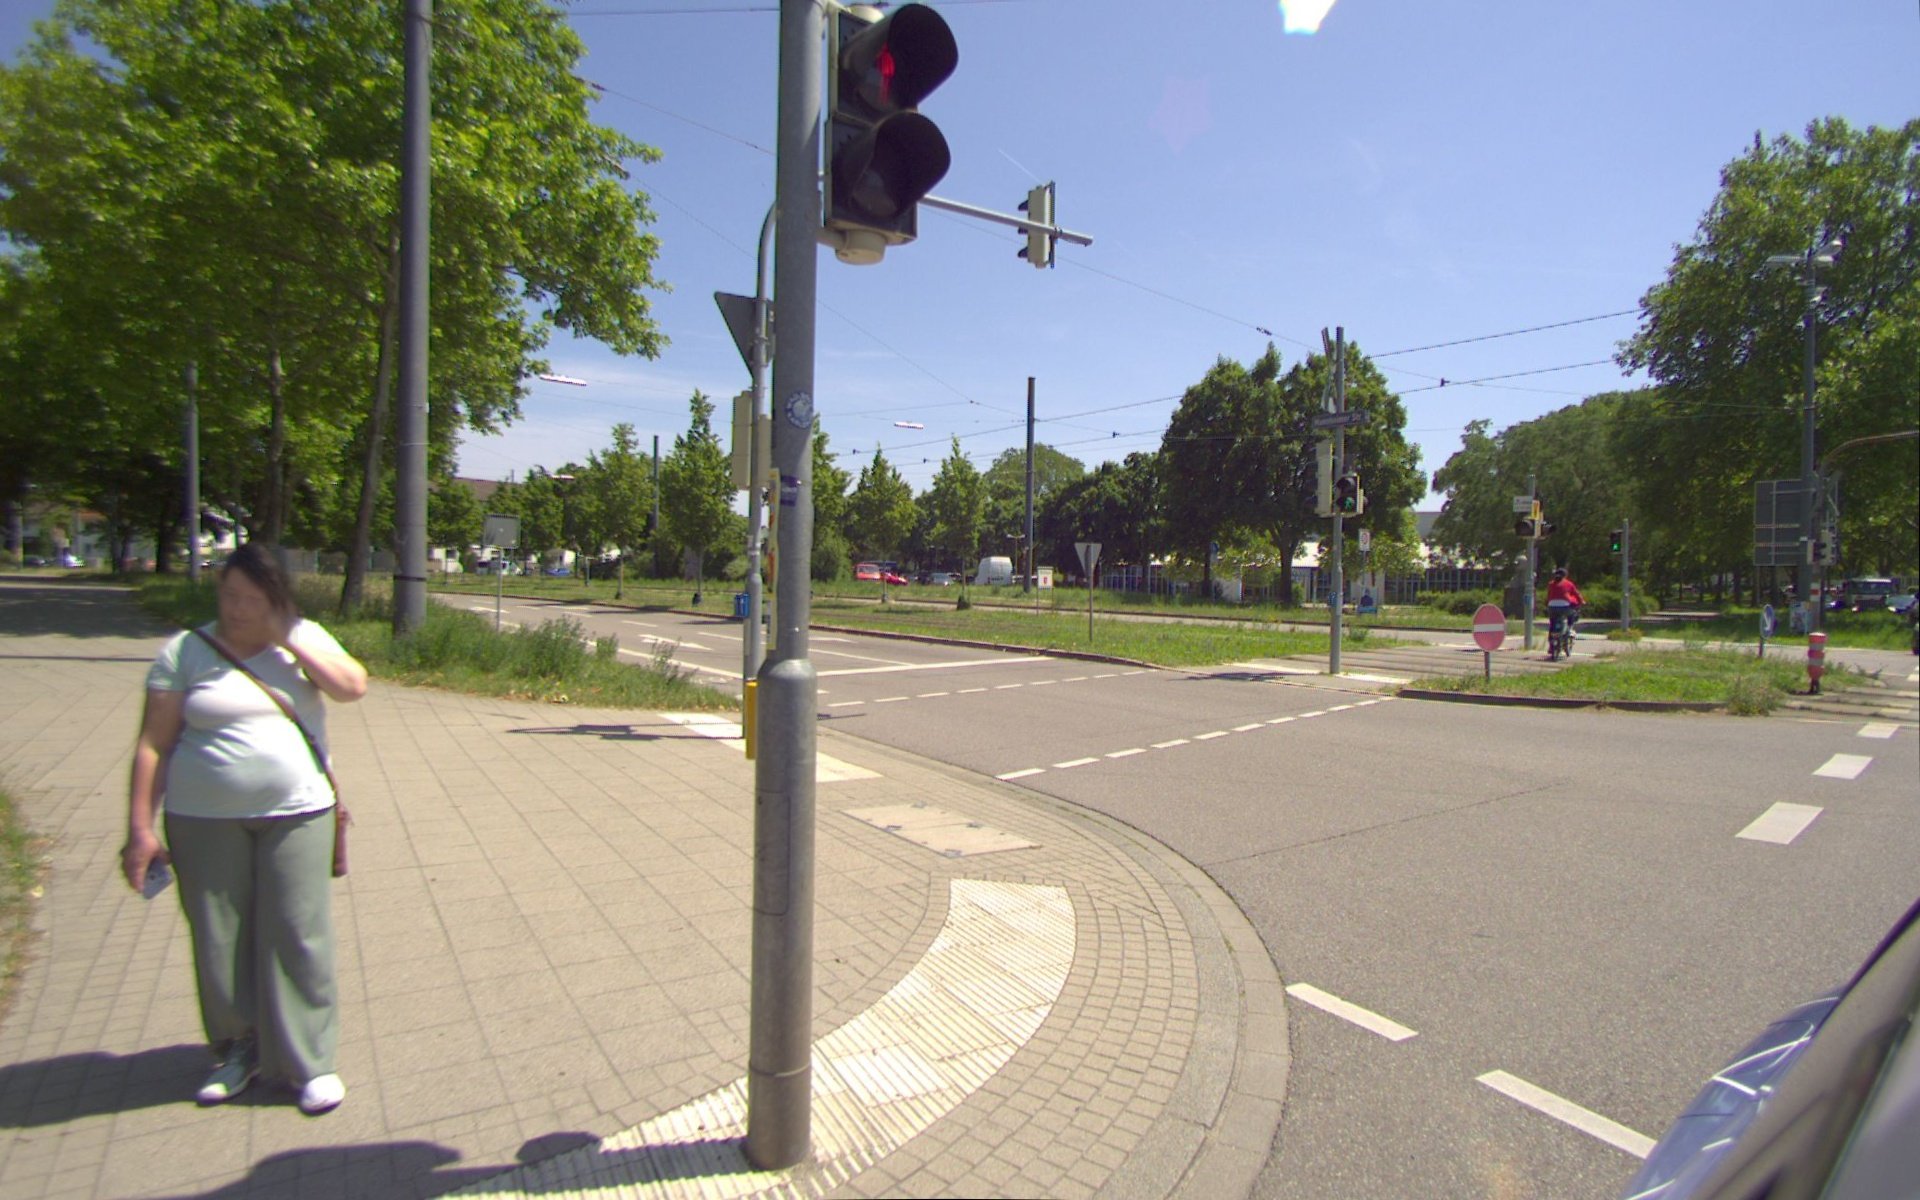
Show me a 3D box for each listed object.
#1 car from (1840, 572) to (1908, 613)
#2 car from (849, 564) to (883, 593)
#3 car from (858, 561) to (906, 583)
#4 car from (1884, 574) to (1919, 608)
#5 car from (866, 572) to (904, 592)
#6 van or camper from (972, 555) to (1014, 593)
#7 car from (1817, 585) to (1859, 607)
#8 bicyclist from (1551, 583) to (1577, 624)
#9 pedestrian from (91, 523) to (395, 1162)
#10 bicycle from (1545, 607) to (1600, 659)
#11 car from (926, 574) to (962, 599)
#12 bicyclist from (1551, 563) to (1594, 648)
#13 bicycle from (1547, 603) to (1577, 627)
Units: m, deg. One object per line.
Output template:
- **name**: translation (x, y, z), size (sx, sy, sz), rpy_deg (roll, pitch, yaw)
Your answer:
- **car**: translation (61.732, -0.561, 68.505), size (2.904, 2.687, 6.280), rpy_deg (1, 1, 38)
- **car**: translation (-6.958, -1.610, 74.376), size (2.031, 2.028, 4.672), rpy_deg (1, 1, -11)
- **car**: translation (-7.549, -2.664, 97.663), size (4.329, 2.039, 2.251), rpy_deg (0, 1, -15)
- **car**: translation (53.006, -0.524, 56.261), size (1.989, 1.816, 3.947), rpy_deg (1, 2, 37)
- **car**: translation (-6.295, -1.553, 85.243), size (3.016, 1.624, 1.517), rpy_deg (0, 1, -11)
- **van or camper**: translation (2.440, -1.959, 76.274), size (2.157, 2.785, 5.139), rpy_deg (0, 1, -10)
- **car**: translation (70.421, -0.333, 81.231), size (1.986, 1.638, 3.952), rpy_deg (2, 2, 34)
- **bicyclist**: translation (20.206, 0.113, 33.866), size (0.655, 1.355, 0.599), rpy_deg (0, 1, -44)
- **pedestrian**: translation (-1.931, 0.563, 2.779), size (0.617, 1.502, 0.555), rpy_deg (0, 1, -34)
- **bicycle**: translation (11.743, 0.612, 19.372), size (0.586, 0.907, 1.784), rpy_deg (2, 2, 41)
- **car**: translation (-1.201, -1.004, 73.638), size (1.916, 1.739, 4.079), rpy_deg (1, 1, -11)
- **bicyclist**: translation (11.652, 0.092, 19.251), size (0.577, 1.576, 0.663), rpy_deg (1, 1, 42)
- **bicycle**: translation (20.088, 0.497, 33.761), size (1.641, 0.773, 0.464), rpy_deg (0, 2, -45)
